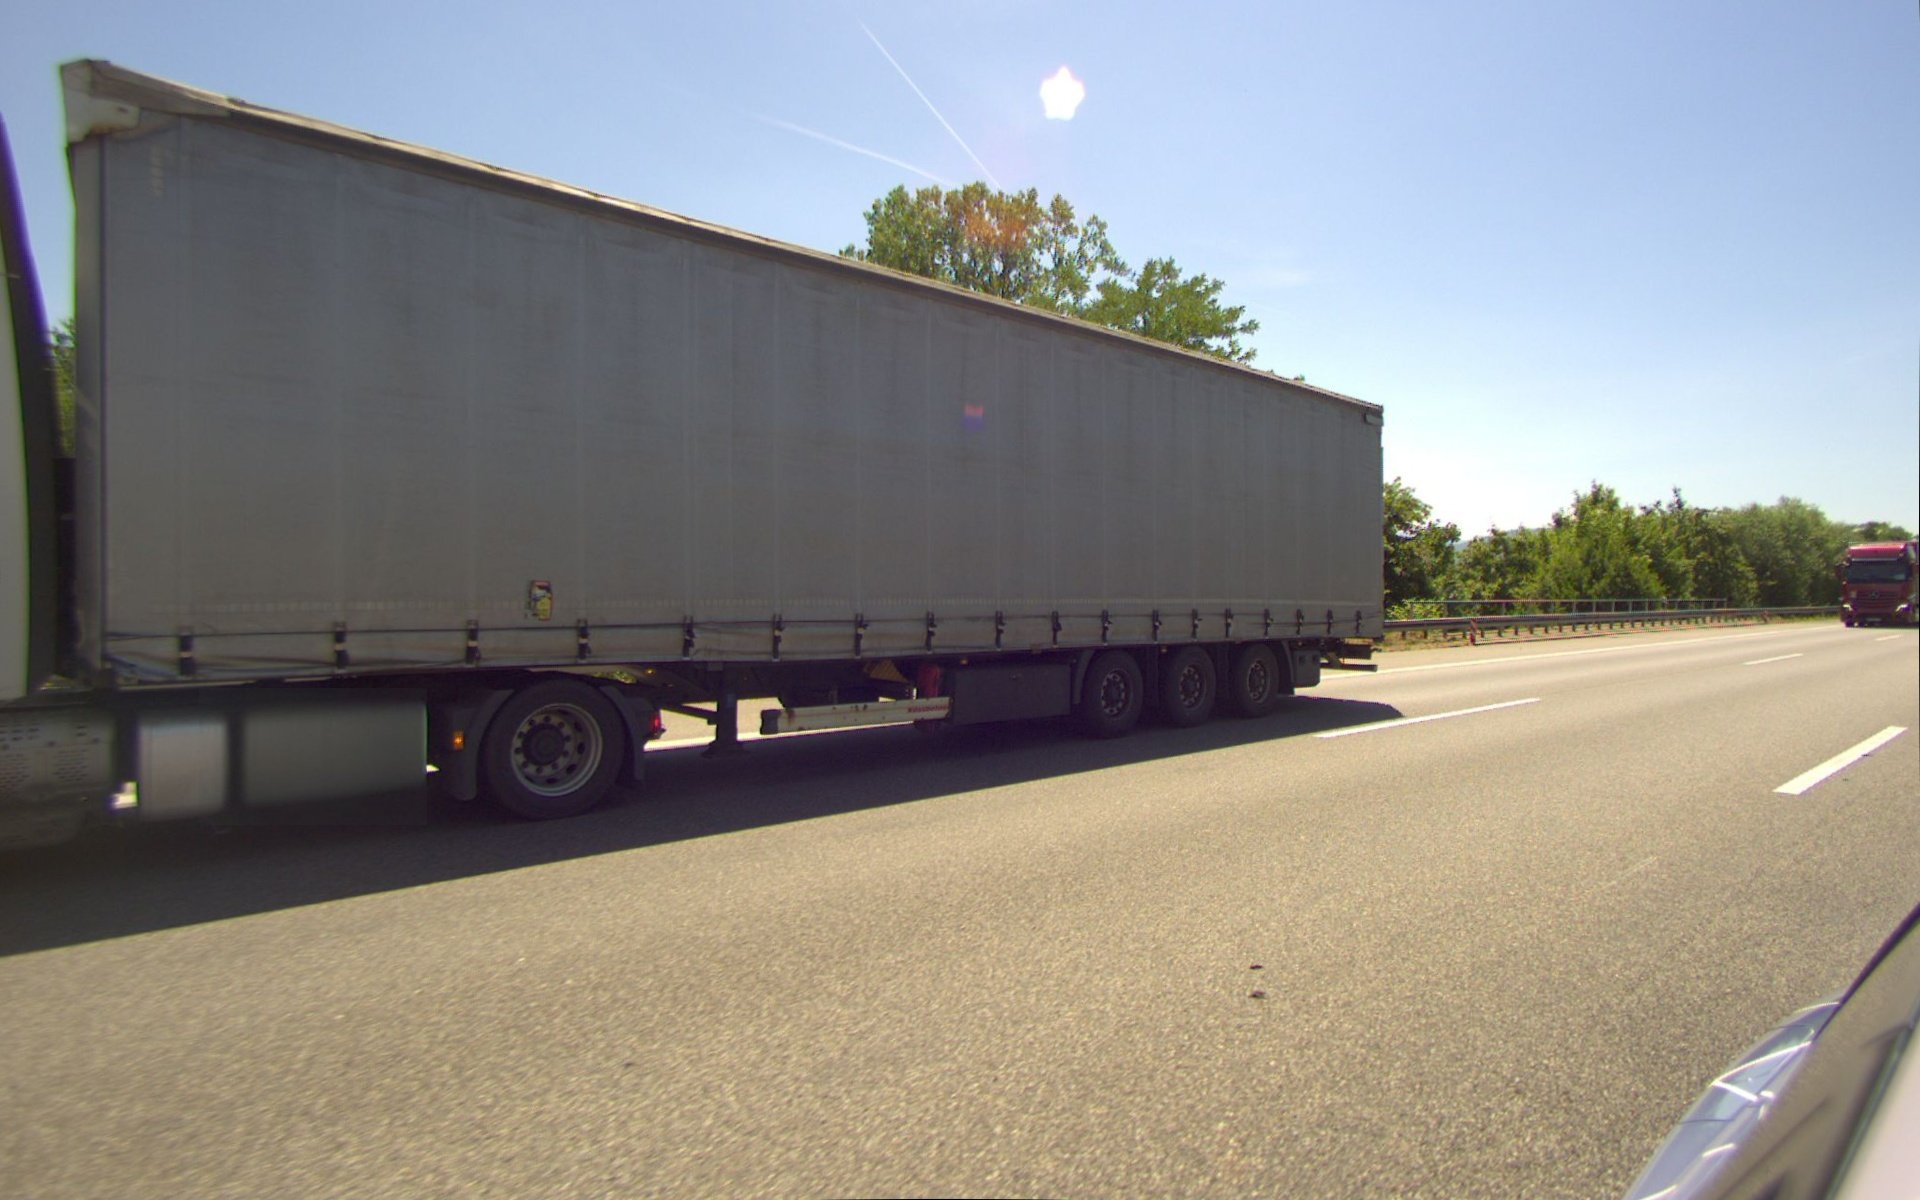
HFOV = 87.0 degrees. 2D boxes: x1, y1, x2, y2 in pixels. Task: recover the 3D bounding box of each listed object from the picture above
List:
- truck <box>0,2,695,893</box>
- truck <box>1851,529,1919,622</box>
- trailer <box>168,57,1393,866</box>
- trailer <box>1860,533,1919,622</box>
[{"bbox_3d":[-5.312,-0.724,5.815,6.869,4.169,2.705,-1,1,-41],"label":"truck"},{"bbox_3d":[45.351,-1.152,48.691,7.635,4.169,2.800,-1,1,-41],"label":"truck"},{"bbox_3d":[0.086,-0.799,10.513,13.009,4.169,2.705,-1,1,-41],"label":"trailer"},{"bbox_3d":[49.029,-1.117,51.948,12.087,4.169,2.800,-1,1,-41],"label":"trailer"}]
